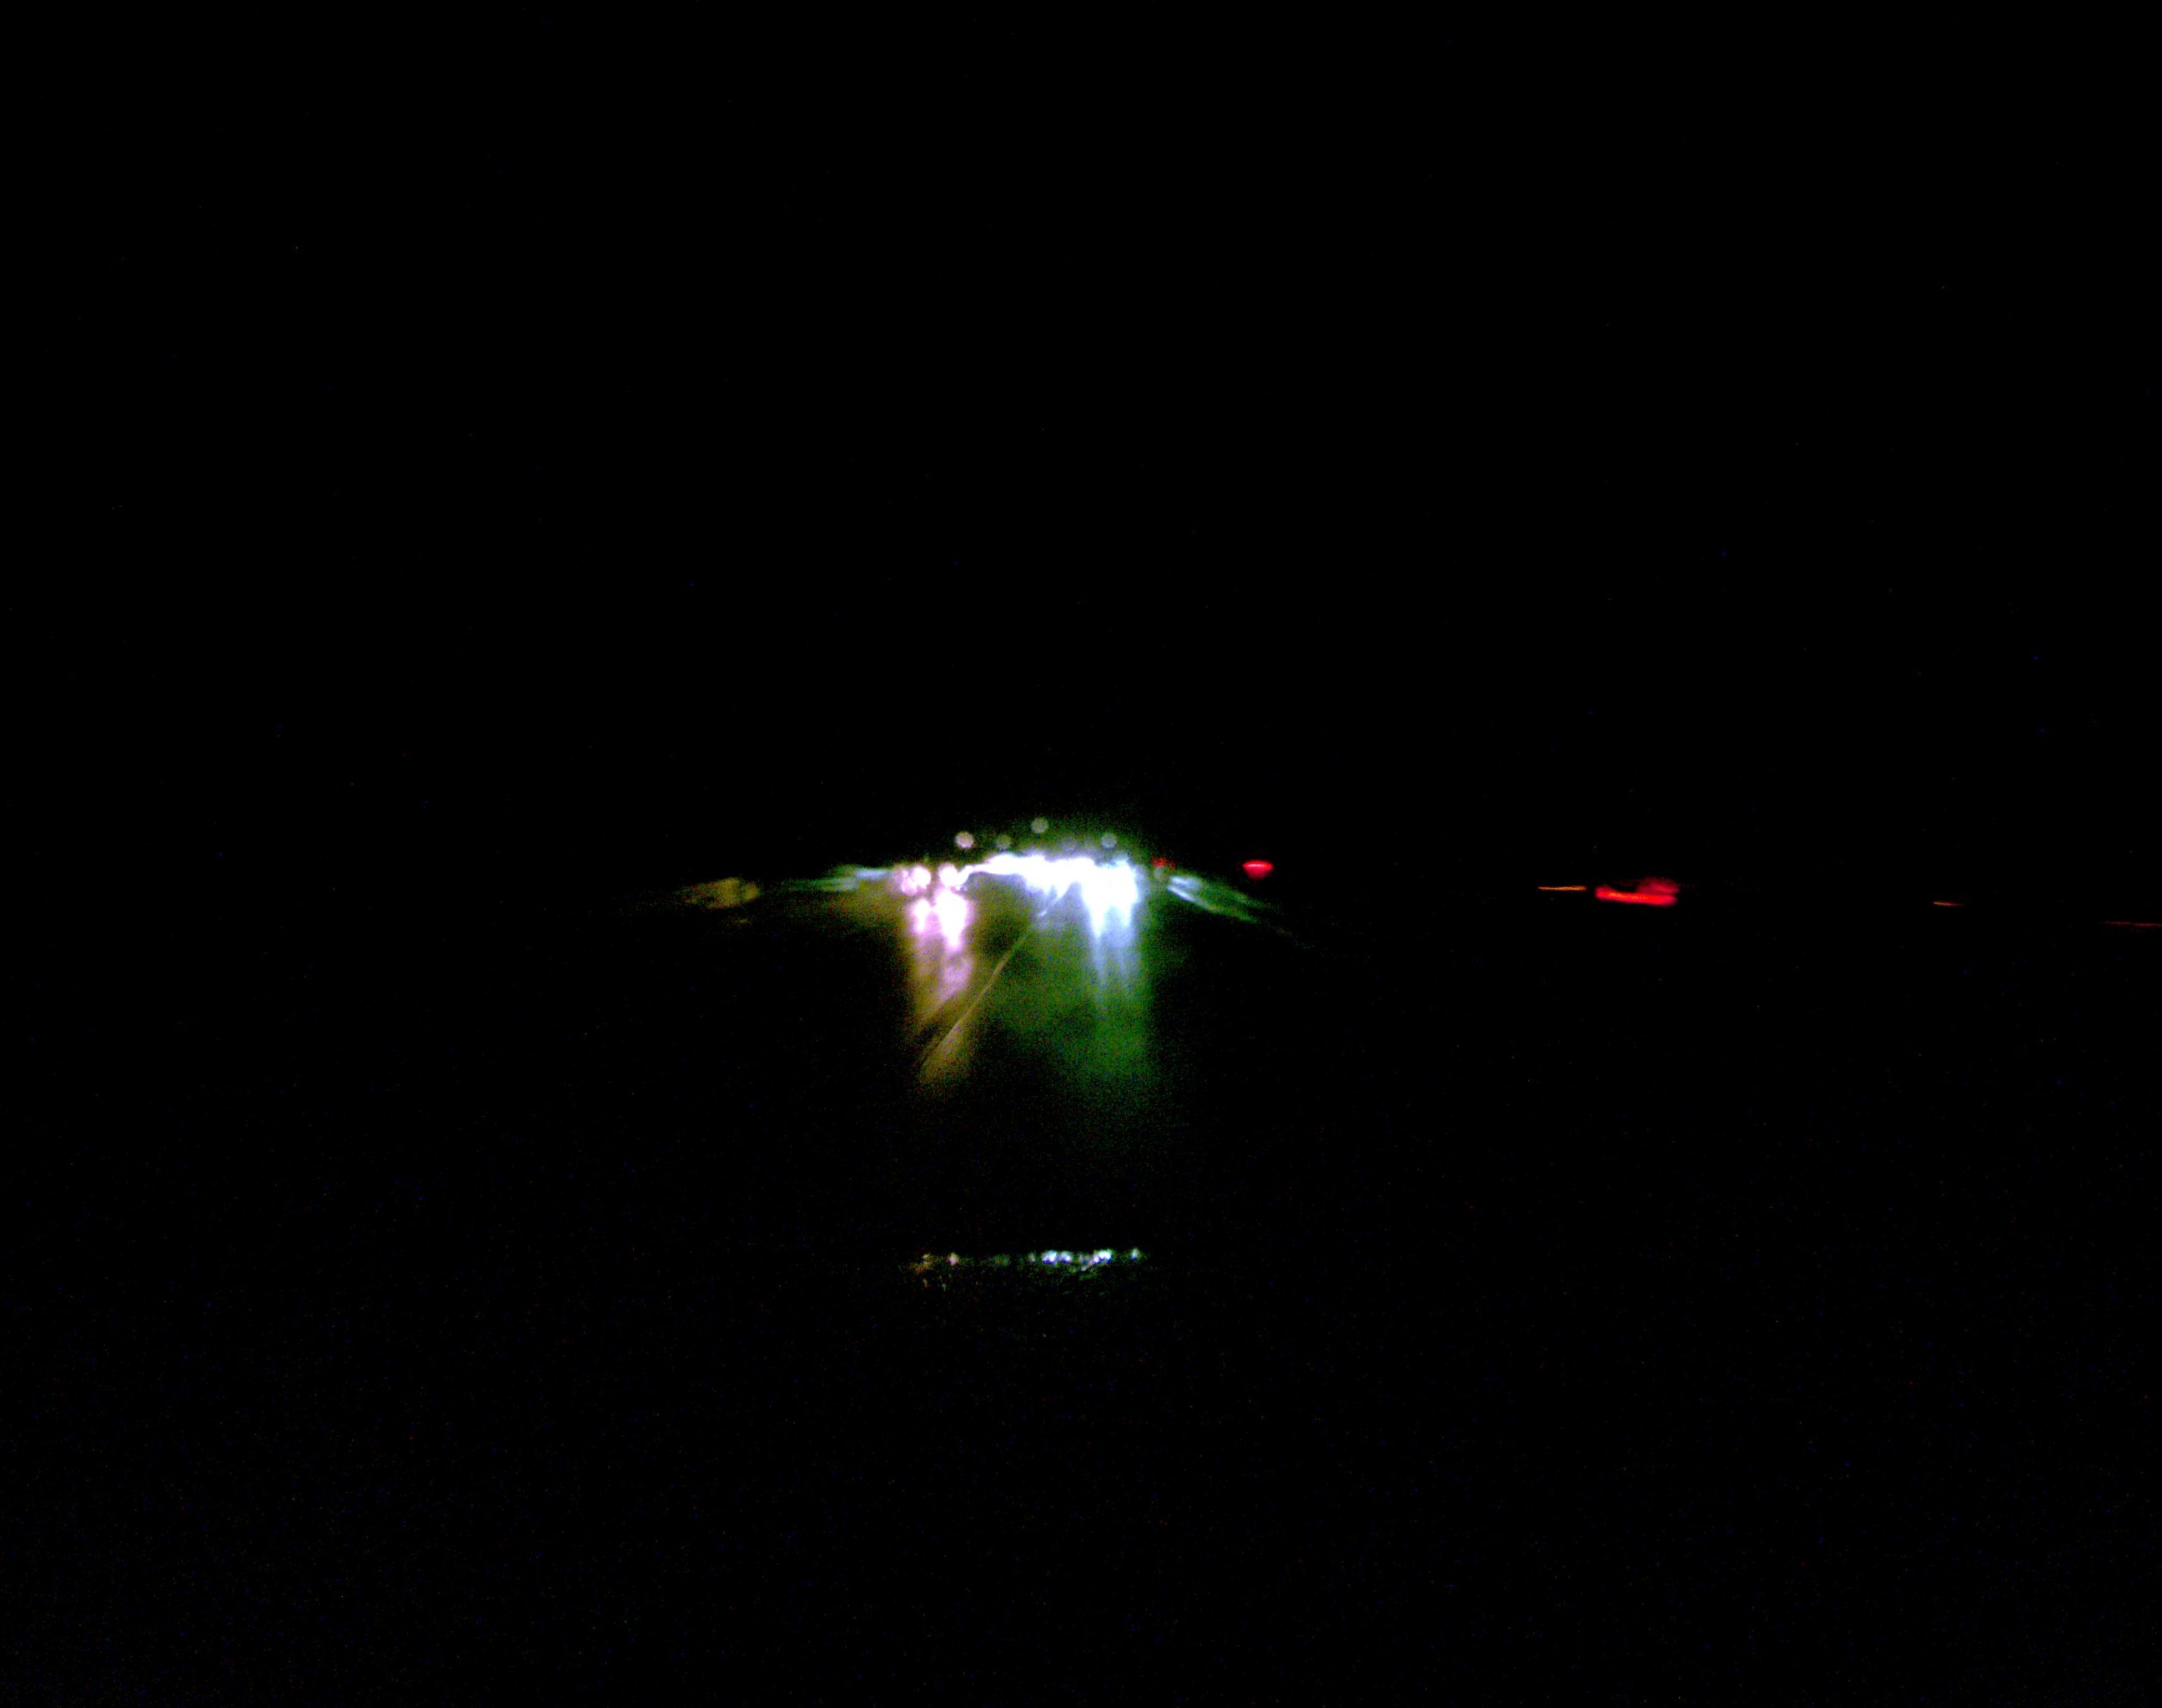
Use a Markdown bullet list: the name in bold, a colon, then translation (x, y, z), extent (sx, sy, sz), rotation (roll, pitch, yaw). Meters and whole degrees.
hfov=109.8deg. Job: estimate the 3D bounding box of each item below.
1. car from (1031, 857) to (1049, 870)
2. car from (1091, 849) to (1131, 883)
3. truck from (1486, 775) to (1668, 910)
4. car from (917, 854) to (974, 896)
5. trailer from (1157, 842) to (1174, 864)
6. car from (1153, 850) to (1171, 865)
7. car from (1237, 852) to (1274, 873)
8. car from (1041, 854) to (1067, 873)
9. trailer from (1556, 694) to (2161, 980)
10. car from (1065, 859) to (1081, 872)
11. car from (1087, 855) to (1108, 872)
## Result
- **car**: translation (-5.539, 1.293, 102.345), extent (1.882, 1.654, 4.001), rotation (-3, 0, 4)
- **car**: translation (1.666, 0.609, 40.559), extent (1.882, 1.654, 4.001), rotation (-3, 0, 4)
- **truck**: translation (17.438, -0.379, 27.237), extent (2.697, 4.197, 5.734), rotation (-2, 0, 1)
- **car**: translation (-6.640, 0.990, 37.686), extent (1.832, 1.835, 4.699), rotation (-3, 0, 1)
- **trailer**: translation (19.364, -0.228, 173.869), extent (2.411, 4.795, 10.170), rotation (-3, 0, 0)
- **car**: translation (11.803, 0.584, 110.792), extent (1.998, 2.001, 4.296), rotation (-3, -1, 0)
- **car**: translation (15.477, 0.755, 67.609), extent (1.999, 1.763, 4.958), rotation (0, 1, -1)
- **car**: translation (-2.552, 0.918, 72.754), extent (1.882, 1.654, 4.001), rotation (-3, 0, 4)
- **trailer**: translation (17.298, -0.327, 17.750), extent (2.697, 4.197, 15.643), rotation (-2, 0, 1)
- **car**: translation (-1.117, 1.558, 105.208), extent (1.883, 1.654, 4.001), rotation (-3, 0, 3)
- **car**: translation (1.732, 0.964, 79.307), extent (1.883, 1.654, 4.001), rotation (-3, 0, 4)
